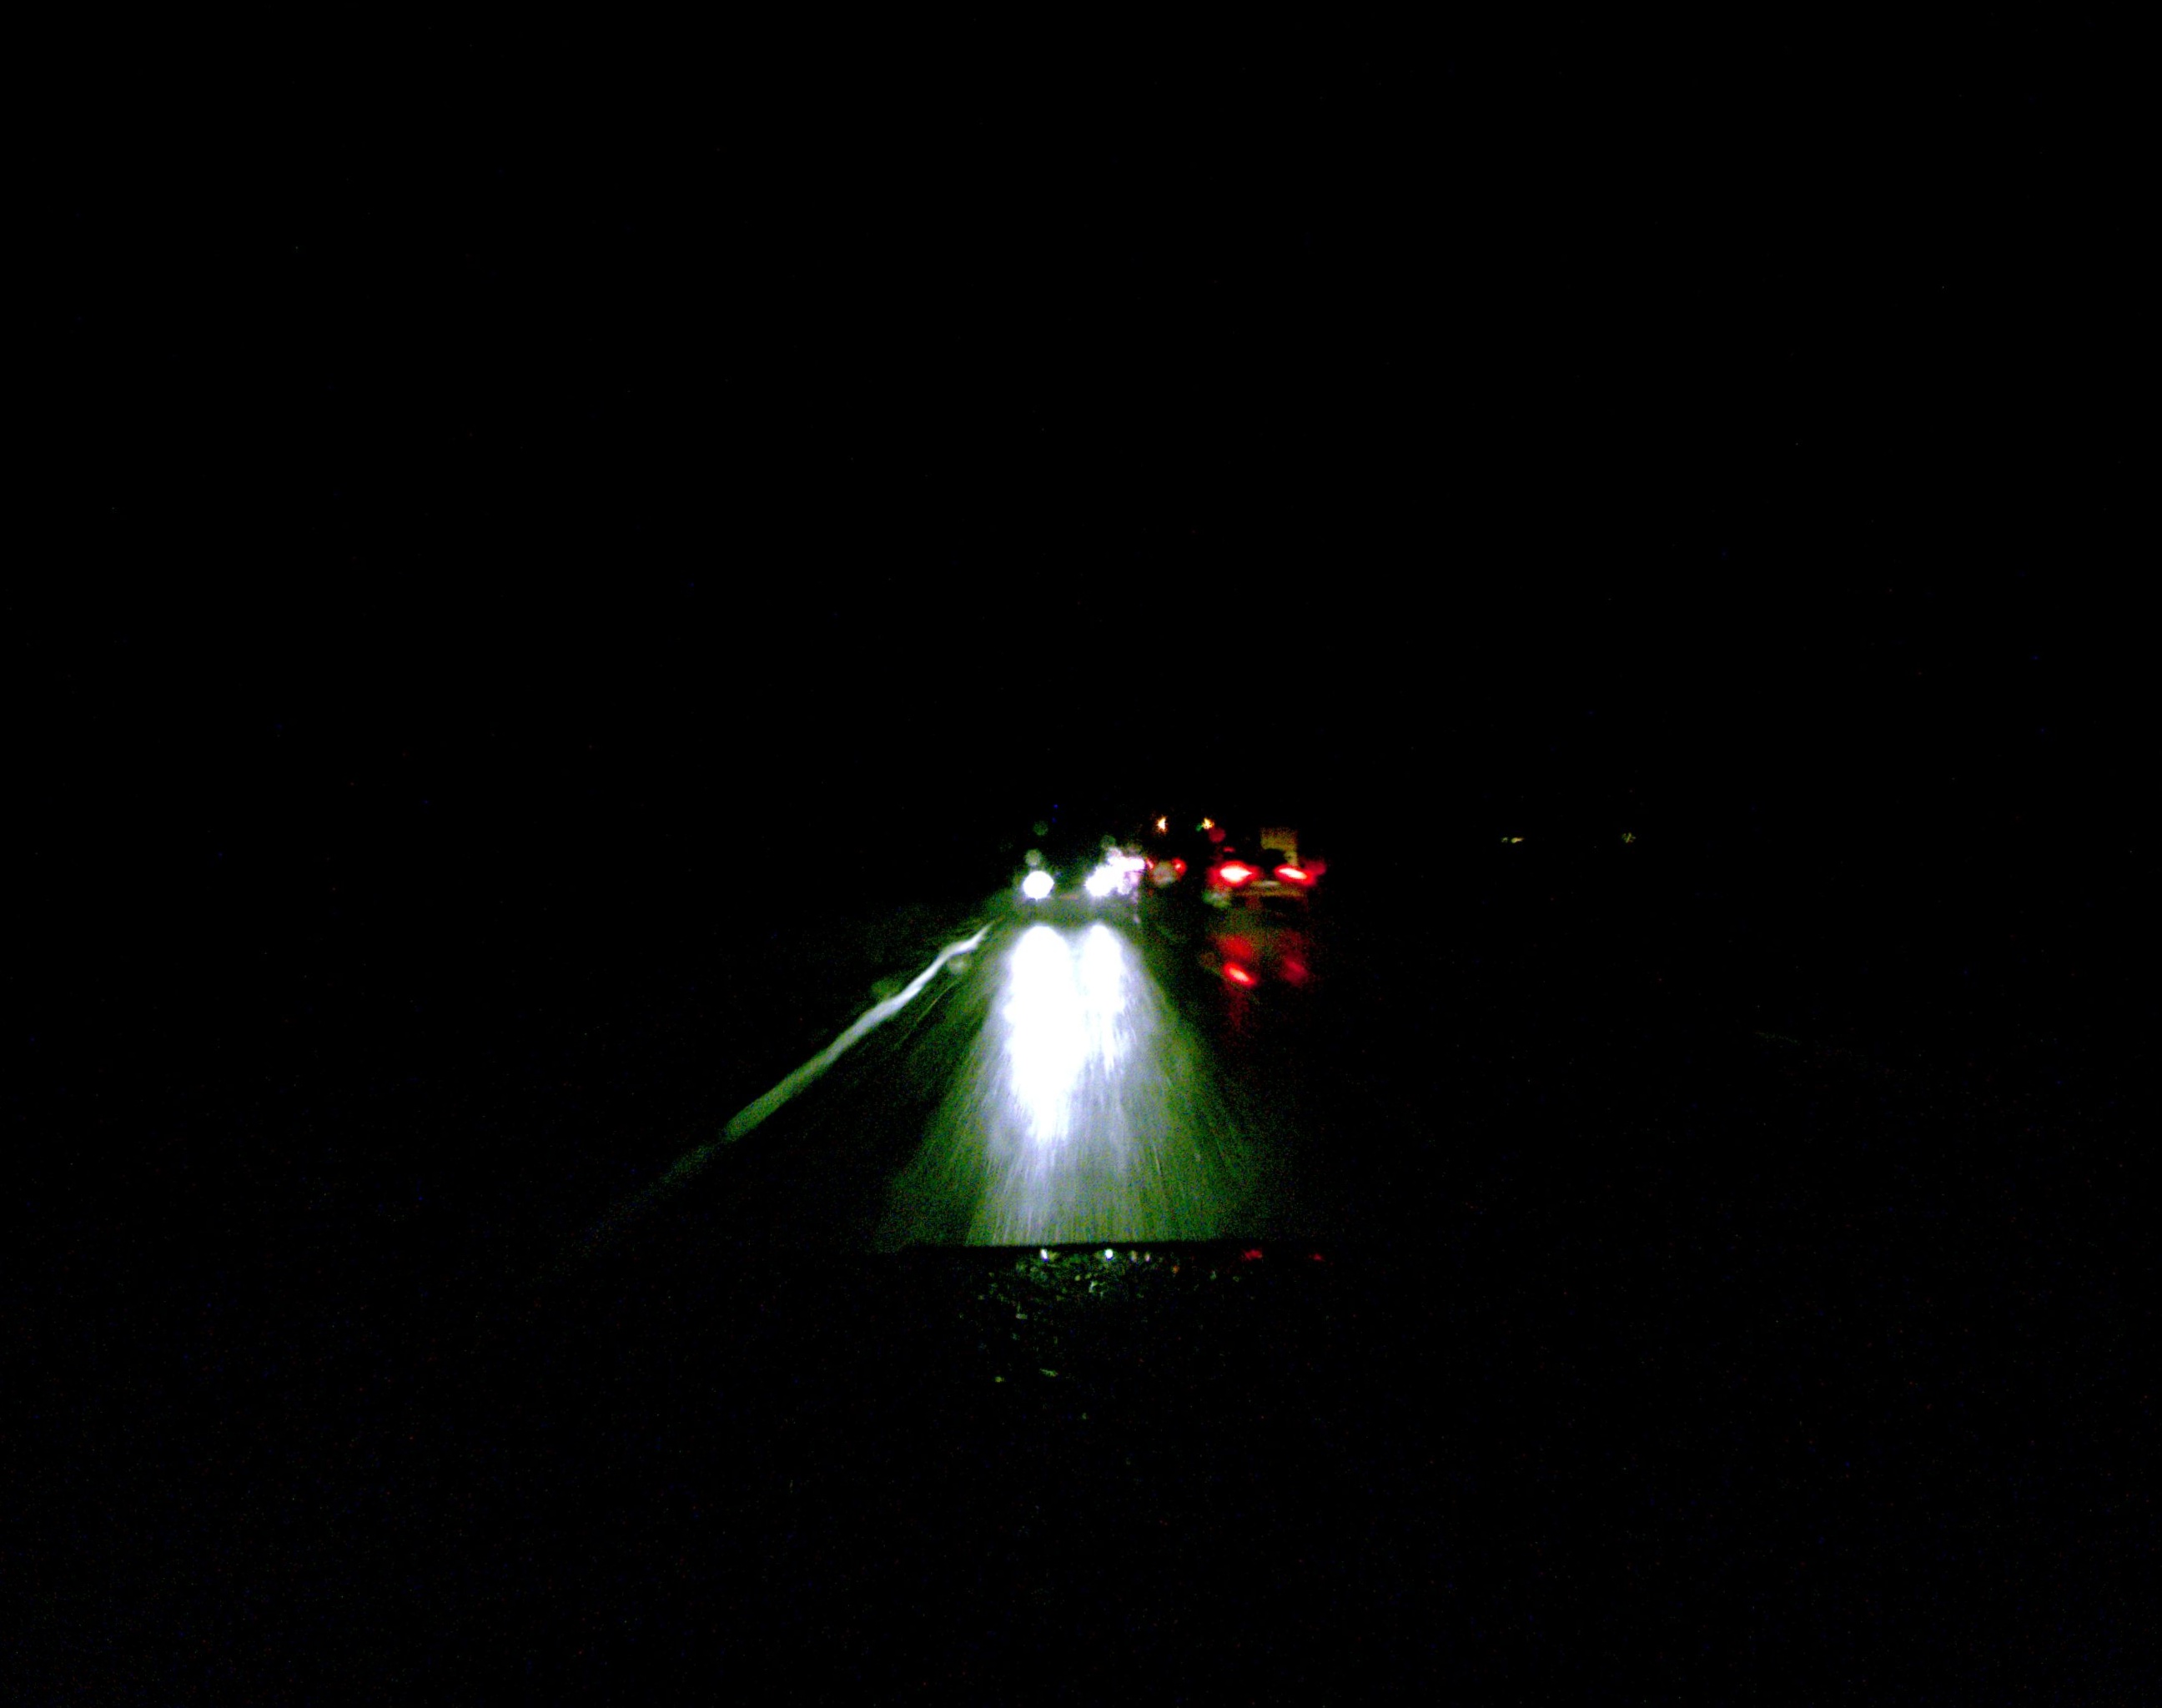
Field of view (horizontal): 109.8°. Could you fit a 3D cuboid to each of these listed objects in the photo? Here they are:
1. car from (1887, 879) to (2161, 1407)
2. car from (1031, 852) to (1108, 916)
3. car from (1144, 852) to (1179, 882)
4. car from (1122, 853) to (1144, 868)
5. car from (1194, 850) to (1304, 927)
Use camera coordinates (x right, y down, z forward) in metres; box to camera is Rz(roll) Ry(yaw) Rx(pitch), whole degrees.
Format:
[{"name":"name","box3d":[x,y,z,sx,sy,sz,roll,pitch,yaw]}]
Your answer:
[{"name":"car","box3d":[3.774,0.820,1.042,1.602,1.416,3.552,-1,1,1]},{"name":"car","box3d":[-0.250,0.749,21.043,1.901,1.552,4.000,-1,1,1]},{"name":"car","box3d":[4.444,0.690,42.446,1.645,1.605,3.731,1,0,1]},{"name":"car","box3d":[5.587,0.674,81.376,1.900,1.552,4.003,-1,1,10]},{"name":"car","box3d":[3.784,0.702,17.800,1.806,1.563,4.191,-1,1,3]}]
